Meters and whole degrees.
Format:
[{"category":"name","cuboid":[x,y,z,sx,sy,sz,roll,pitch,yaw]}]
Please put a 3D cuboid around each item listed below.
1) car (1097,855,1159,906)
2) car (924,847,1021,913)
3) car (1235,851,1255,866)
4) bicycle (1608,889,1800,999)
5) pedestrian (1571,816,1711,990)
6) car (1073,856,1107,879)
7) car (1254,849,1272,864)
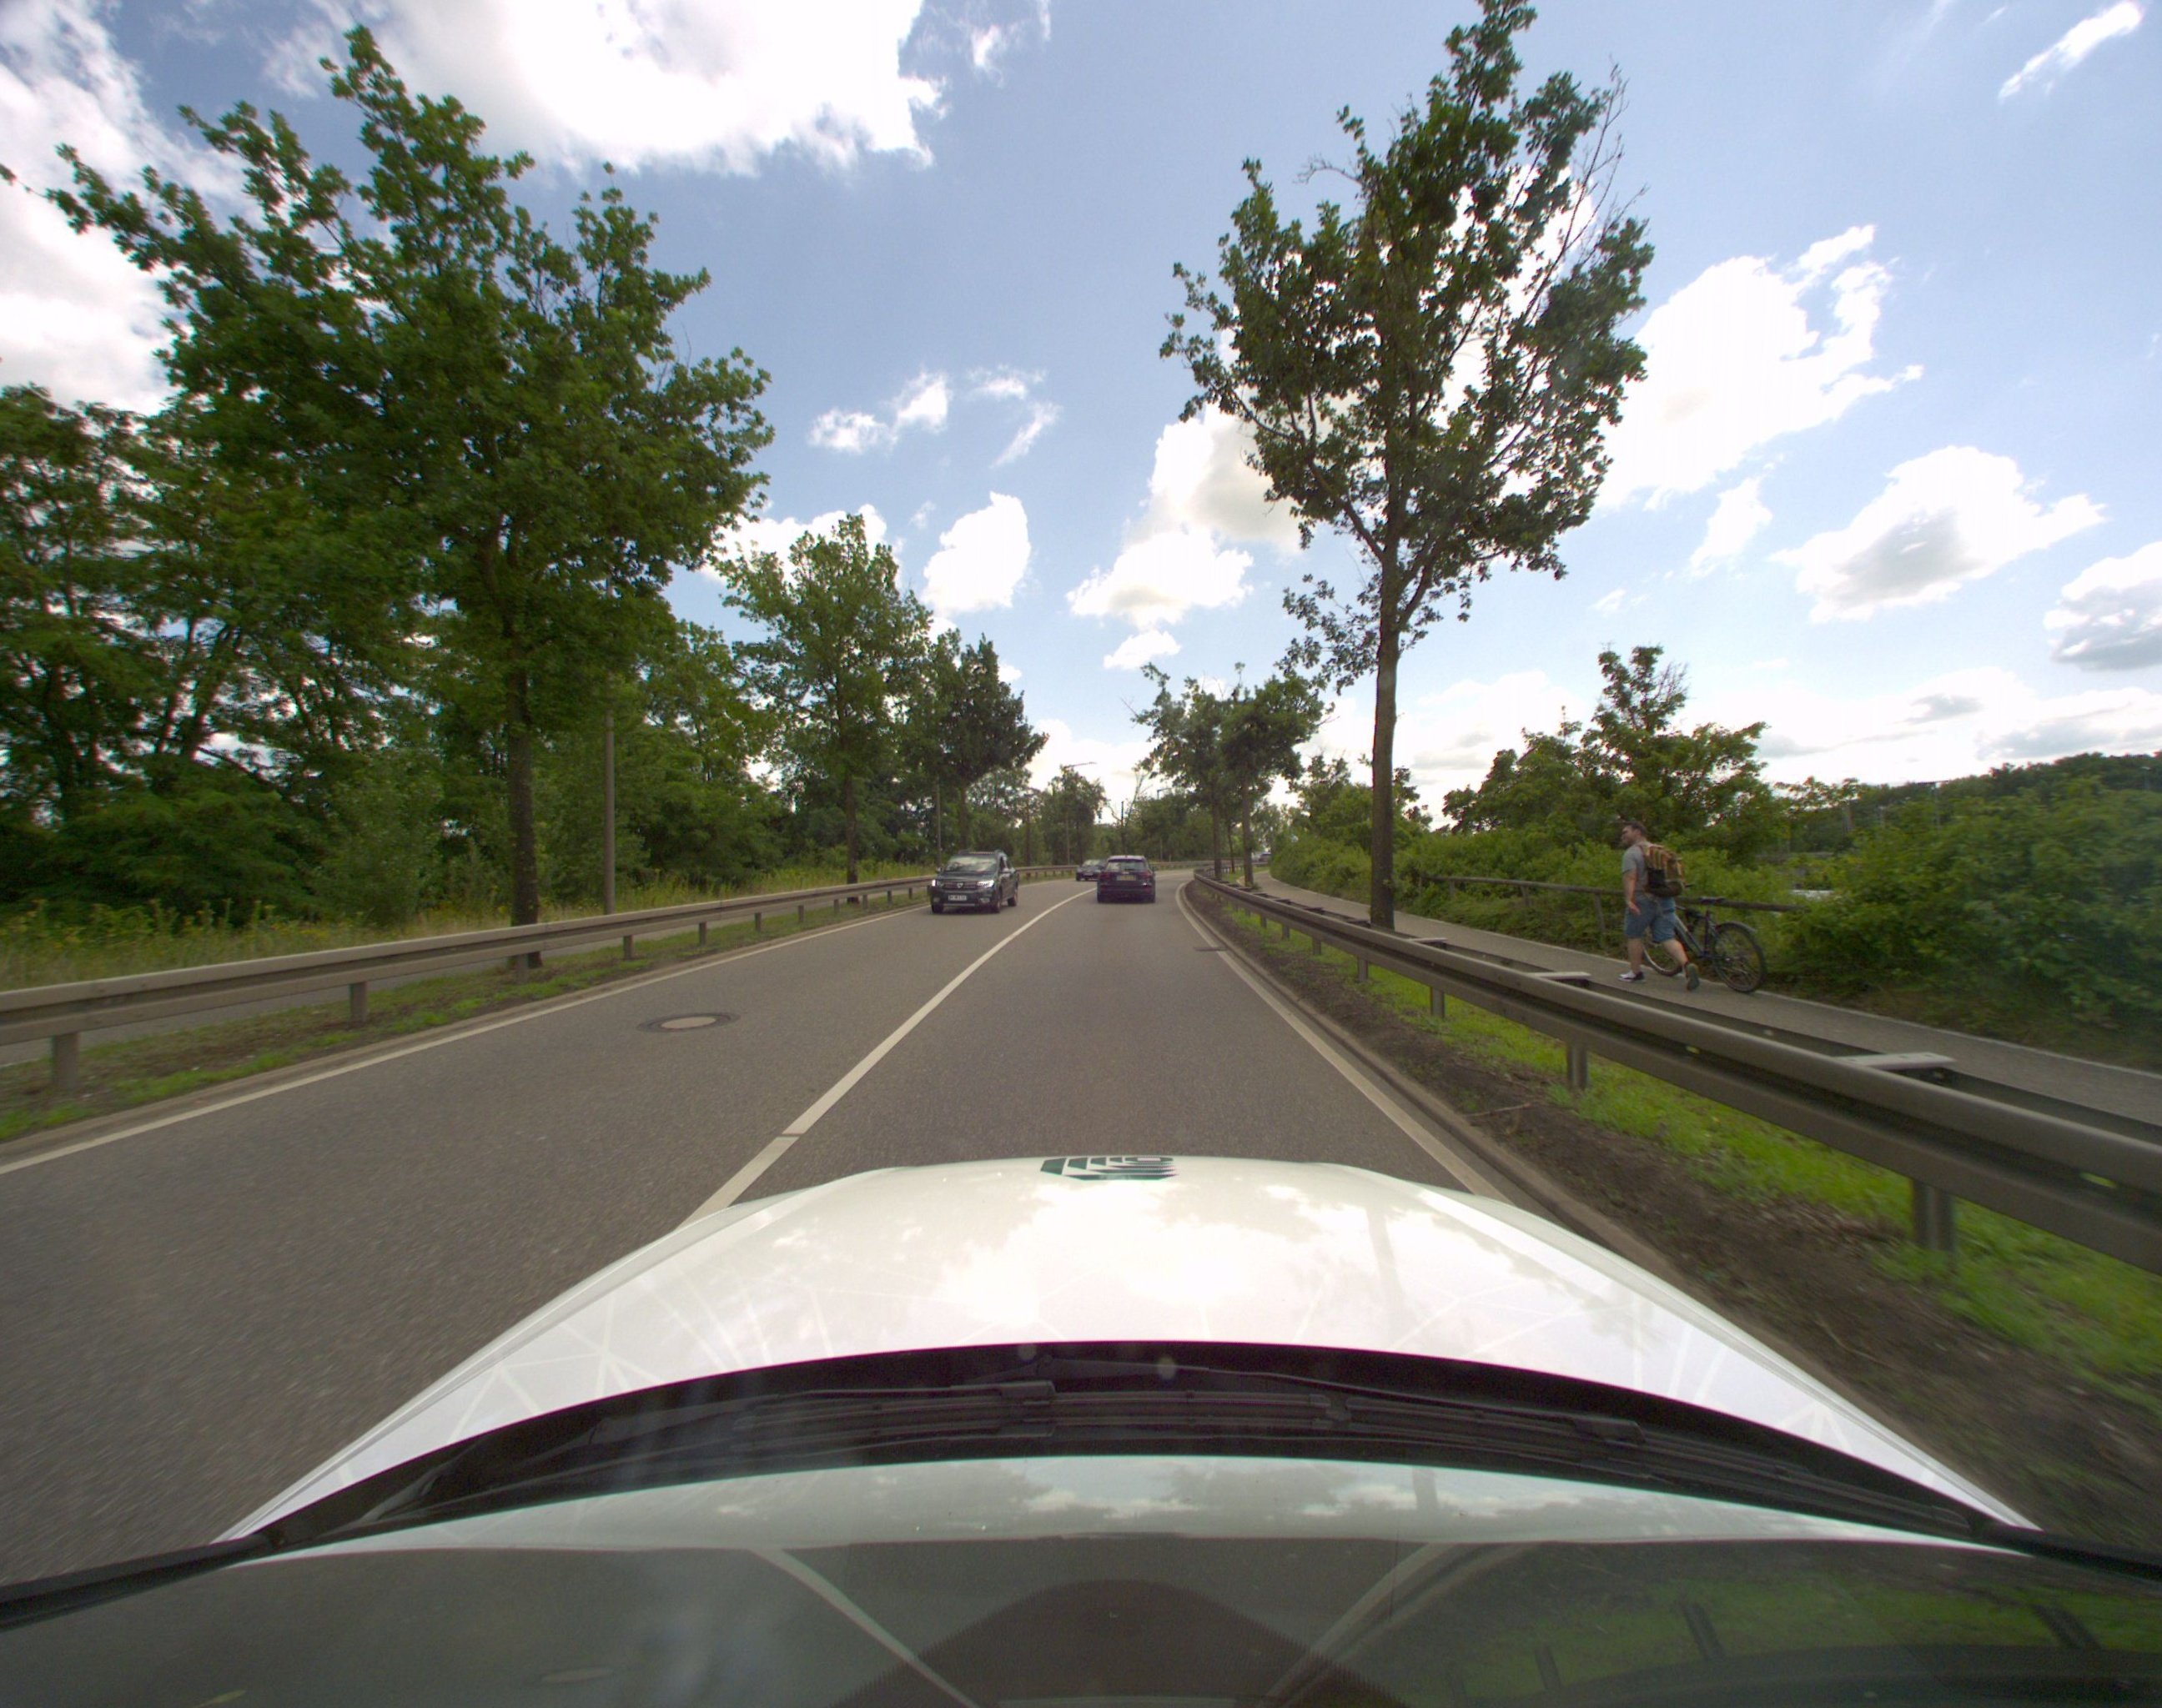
[{"category":"car","cuboid":[1.516,0.777,26.121,1.820,1.491,4.211,0,0,4]},{"category":"car","cuboid":[-2.784,0.628,21.810,1.773,1.607,4.162,0,0,4]},{"category":"car","cuboid":[19.734,0.495,97.838,1.838,1.709,4.331,1,0,17]},{"category":"bicycle","cuboid":[6.137,0.840,8.163,0.554,0.869,1.826,-3,0,2]},{"category":"pedestrian","cuboid":[5.701,0.475,8.358,0.654,1.642,1.055,-3,0,2]},{"category":"car","cuboid":[0.542,0.746,45.751,1.584,1.218,3.796,0,0,6]},{"category":"car","cuboid":[19.954,0.284,89.291,1.566,1.520,4.018,-2,0,17]}]
